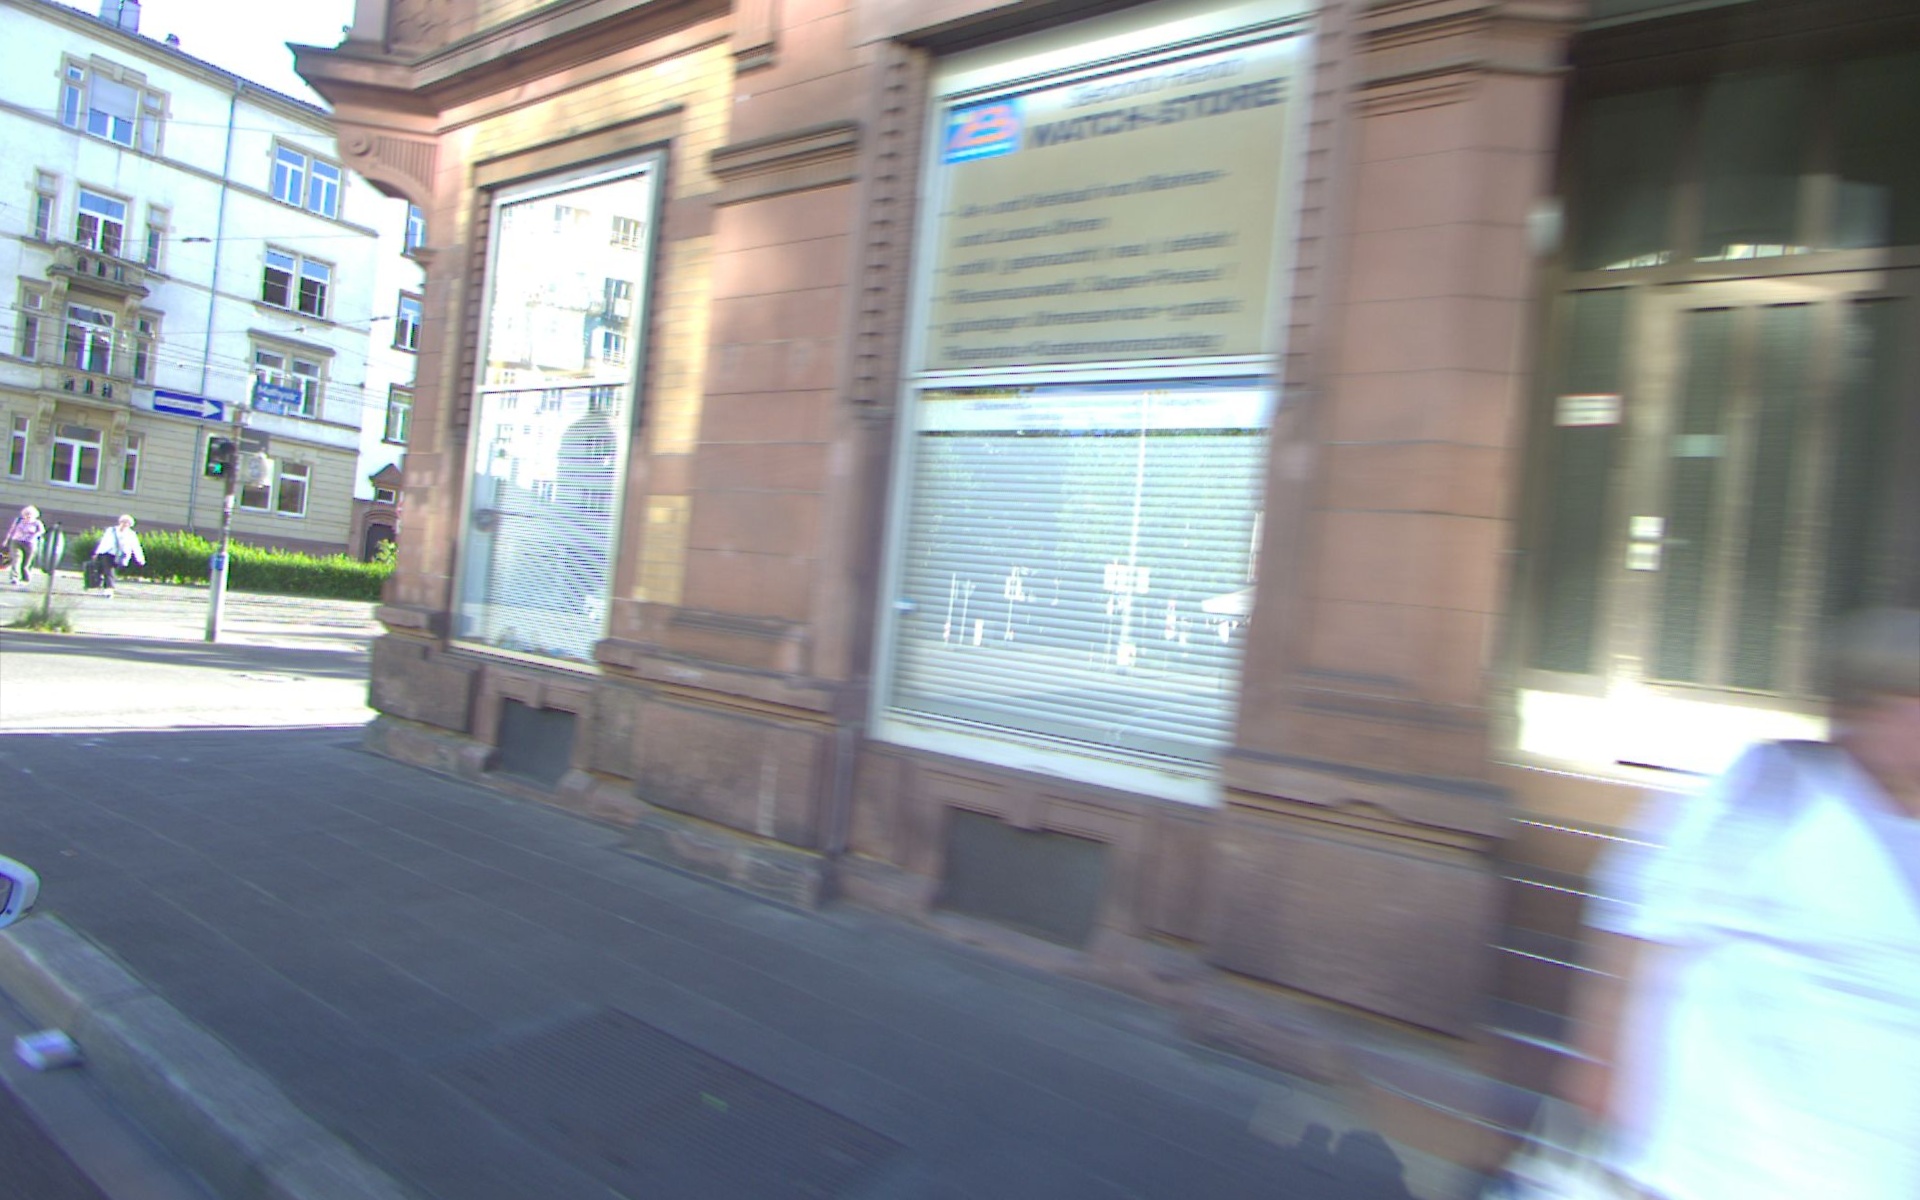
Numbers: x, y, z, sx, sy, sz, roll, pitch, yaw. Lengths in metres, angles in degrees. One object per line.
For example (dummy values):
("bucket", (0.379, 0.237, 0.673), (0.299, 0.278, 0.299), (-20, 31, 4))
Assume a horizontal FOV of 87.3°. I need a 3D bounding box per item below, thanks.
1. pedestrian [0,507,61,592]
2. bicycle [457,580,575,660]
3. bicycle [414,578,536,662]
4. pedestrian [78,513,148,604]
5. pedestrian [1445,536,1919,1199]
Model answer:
("pedestrian", (-19.334, -1.027, 20.687), (0.913, 1.652, 0.937), (5, -1, -25))
("bicycle", (-8.288, 0.360, 18.760), (2.273, 1.224, 0.752), (6, 0, 31))
("bicycle", (-8.711, 0.347, 18.046), (2.273, 1.224, 0.752), (7, 0, 31))
("pedestrian", (-16.676, -0.805, 19.804), (0.919, 1.652, 0.998), (6, -1, -42))
("pedestrian", (1.271, 0.773, 1.613), (0.717, 1.627, 0.683), (6, 0, 18))
